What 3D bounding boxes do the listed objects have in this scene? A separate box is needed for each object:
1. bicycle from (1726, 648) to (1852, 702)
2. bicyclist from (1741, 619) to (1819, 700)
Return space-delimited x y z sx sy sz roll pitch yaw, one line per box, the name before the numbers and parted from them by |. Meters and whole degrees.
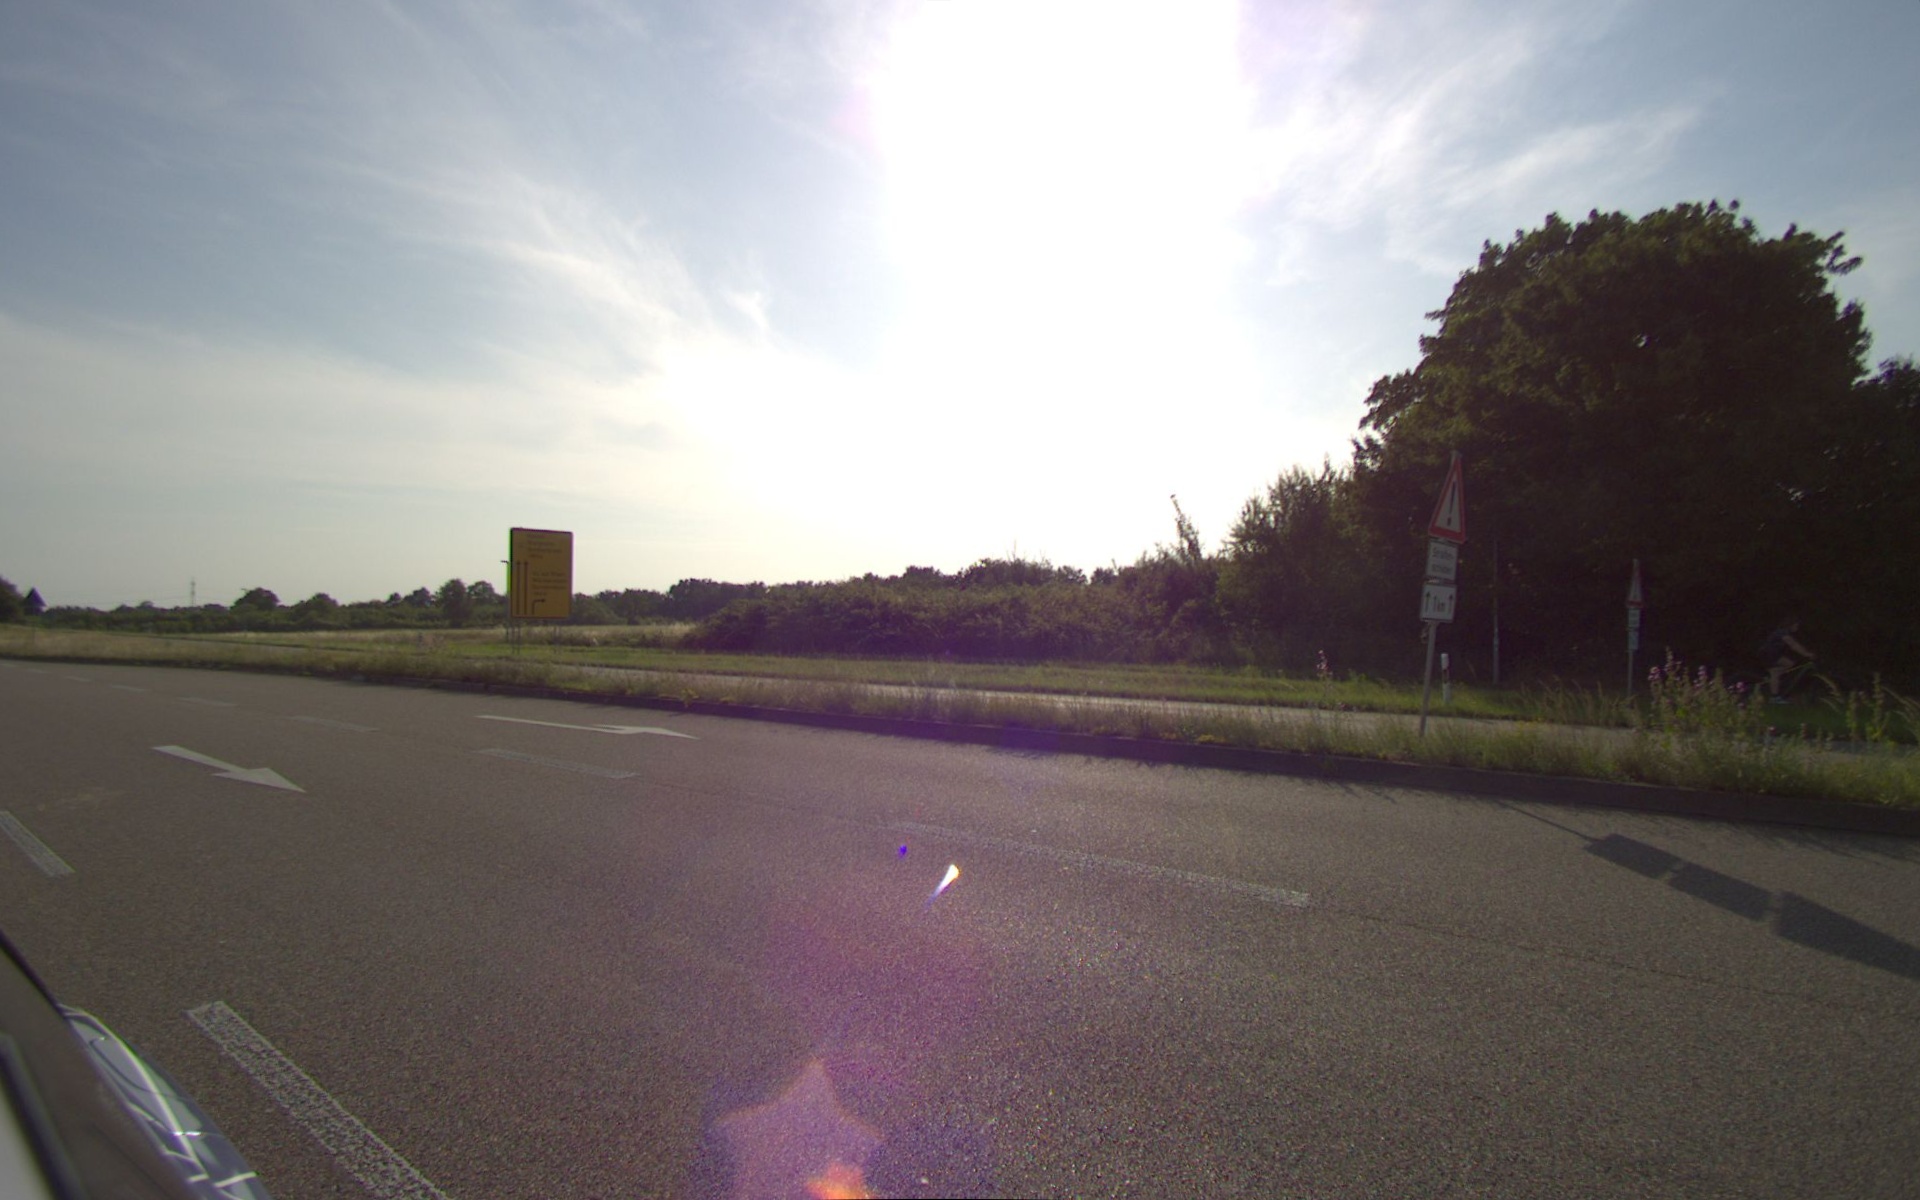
bicycle | 14.804 1.317 18.113 1.703 0.885 0.524 -1 -1 41
bicyclist | 14.716 1.049 18.178 1.047 1.400 0.462 -1 -2 40
